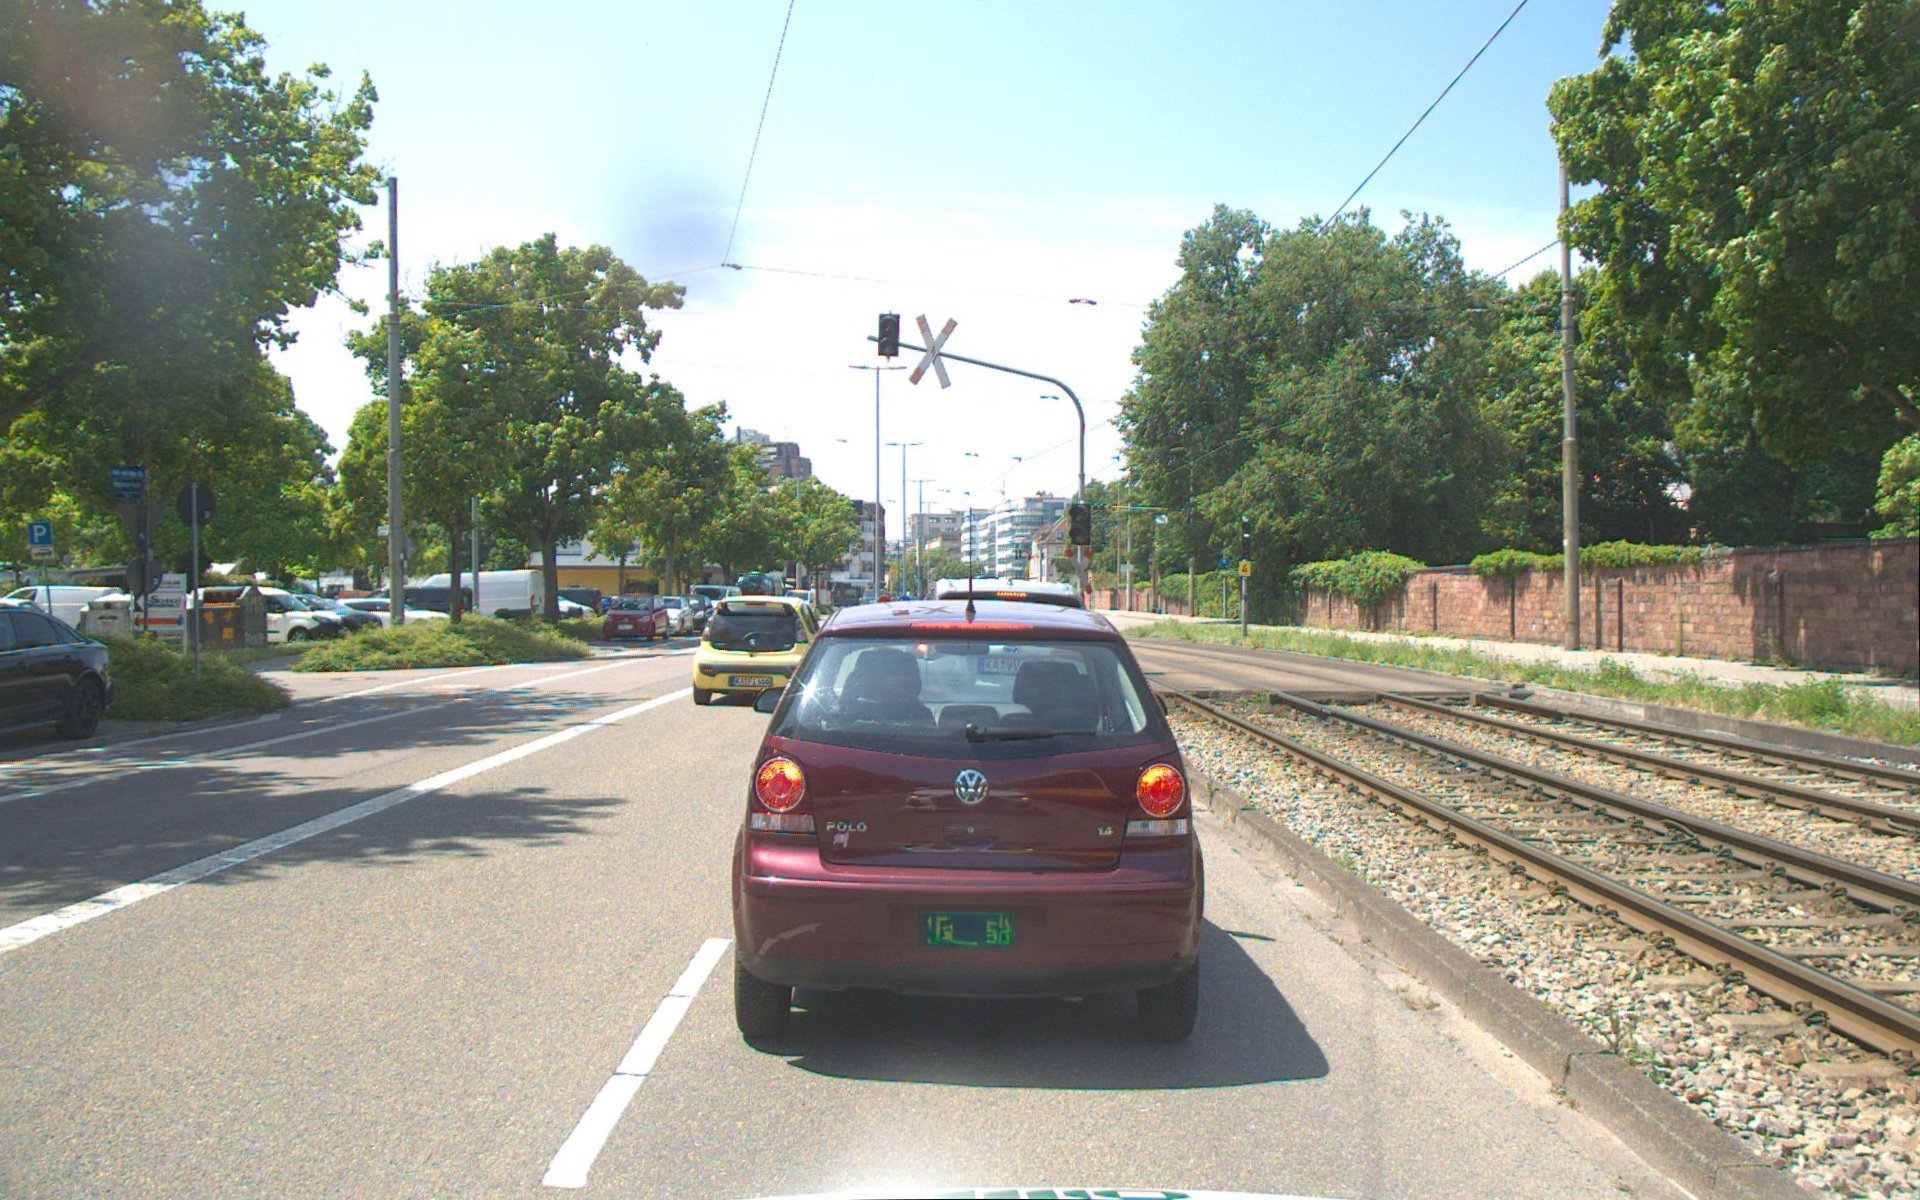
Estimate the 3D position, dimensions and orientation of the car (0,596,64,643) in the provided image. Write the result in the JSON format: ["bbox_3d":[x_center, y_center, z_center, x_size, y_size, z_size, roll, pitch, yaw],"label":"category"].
[{"bbox_3d":[-33.704,0.658,57.941,3.670,1.603,1.732,0,0,-1],"label":"car"}]

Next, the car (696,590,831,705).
[{"bbox_3d":[-2.684,0.610,23.186,1.520,1.473,3.411,1,0,-1],"label":"car"}]

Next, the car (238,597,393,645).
[{"bbox_3d":[-20.278,0.636,52.187,4.113,1.428,2.079,-1,0,-5],"label":"car"}]

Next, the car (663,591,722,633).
[{"bbox_3d":[-10.619,0.463,65.879,1.581,1.510,3.785,3,0,2],"label":"car"}]

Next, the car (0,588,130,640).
[{"bbox_3d":[-32.835,0.502,60.373,4.044,1.852,1.970,0,0,-1],"label":"car"}]

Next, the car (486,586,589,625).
[{"bbox_3d":[-20.826,0.278,81.602,4.623,1.845,1.796,-1,0,-2],"label":"car"}]

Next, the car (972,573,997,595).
[{"bbox_3d":[2.249,-1.499,155.048,1.881,1.944,4.566,-1,0,-5],"label":"car"}]

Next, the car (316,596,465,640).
[{"bbox_3d":[-20.656,0.634,60.131,4.665,1.514,2.057,-1,0,-2],"label":"car"}]

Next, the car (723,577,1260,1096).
[{"bbox_3d":[0.067,0.696,6.923,1.577,1.524,3.999,1,0,-1],"label":"car"}]

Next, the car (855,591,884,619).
[{"bbox_3d":[-6.461,0.347,118.152,1.879,1.944,4.570,-1,0,-1],"label":"car"}]

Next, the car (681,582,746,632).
[{"bbox_3d":[-10.548,0.290,71.039,1.824,1.971,4.806,3,0,2],"label":"car"}]

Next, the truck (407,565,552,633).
[{"bbox_3d":[-20.540,-0.040,70.914,5.463,2.808,2.432,-1,0,0],"label":"truck"}]

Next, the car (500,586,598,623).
[{"bbox_3d":[-21.301,0.244,85.895,4.623,1.845,1.796,-1,0,-2],"label":"car"}]

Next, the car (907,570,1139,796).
[{"bbox_3d":[0.459,0.631,14.757,1.759,1.712,3.999,1,0,-1],"label":"car"}]

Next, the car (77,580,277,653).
[{"bbox_3d":[-20.961,0.421,44.439,4.361,1.889,2.059,-1,0,-6],"label":"car"}]

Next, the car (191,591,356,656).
[{"bbox_3d":[-20.395,0.677,49.219,4.178,1.867,1.673,-1,0,1],"label":"car"}]

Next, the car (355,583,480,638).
[{"bbox_3d":[-20.561,0.385,62.843,4.125,2.030,1.856,-1,0,-2],"label":"car"}]

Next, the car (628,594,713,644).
[{"bbox_3d":[-10.596,0.659,60.843,1.683,1.451,4.775,-7,1,6],"label":"car"}]

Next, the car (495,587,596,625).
[{"bbox_3d":[-20.912,0.276,83.551,4.623,1.845,1.796,-1,0,-2],"label":"car"}]

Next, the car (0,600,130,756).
[{"bbox_3d":[-10.311,0.761,16.463,1.856,1.482,4.807,1,0,-3],"label":"car"}]

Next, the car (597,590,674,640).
[{"bbox_3d":[-10.568,0.482,54.016,1.637,1.573,3.727,1,0,2],"label":"car"}]
